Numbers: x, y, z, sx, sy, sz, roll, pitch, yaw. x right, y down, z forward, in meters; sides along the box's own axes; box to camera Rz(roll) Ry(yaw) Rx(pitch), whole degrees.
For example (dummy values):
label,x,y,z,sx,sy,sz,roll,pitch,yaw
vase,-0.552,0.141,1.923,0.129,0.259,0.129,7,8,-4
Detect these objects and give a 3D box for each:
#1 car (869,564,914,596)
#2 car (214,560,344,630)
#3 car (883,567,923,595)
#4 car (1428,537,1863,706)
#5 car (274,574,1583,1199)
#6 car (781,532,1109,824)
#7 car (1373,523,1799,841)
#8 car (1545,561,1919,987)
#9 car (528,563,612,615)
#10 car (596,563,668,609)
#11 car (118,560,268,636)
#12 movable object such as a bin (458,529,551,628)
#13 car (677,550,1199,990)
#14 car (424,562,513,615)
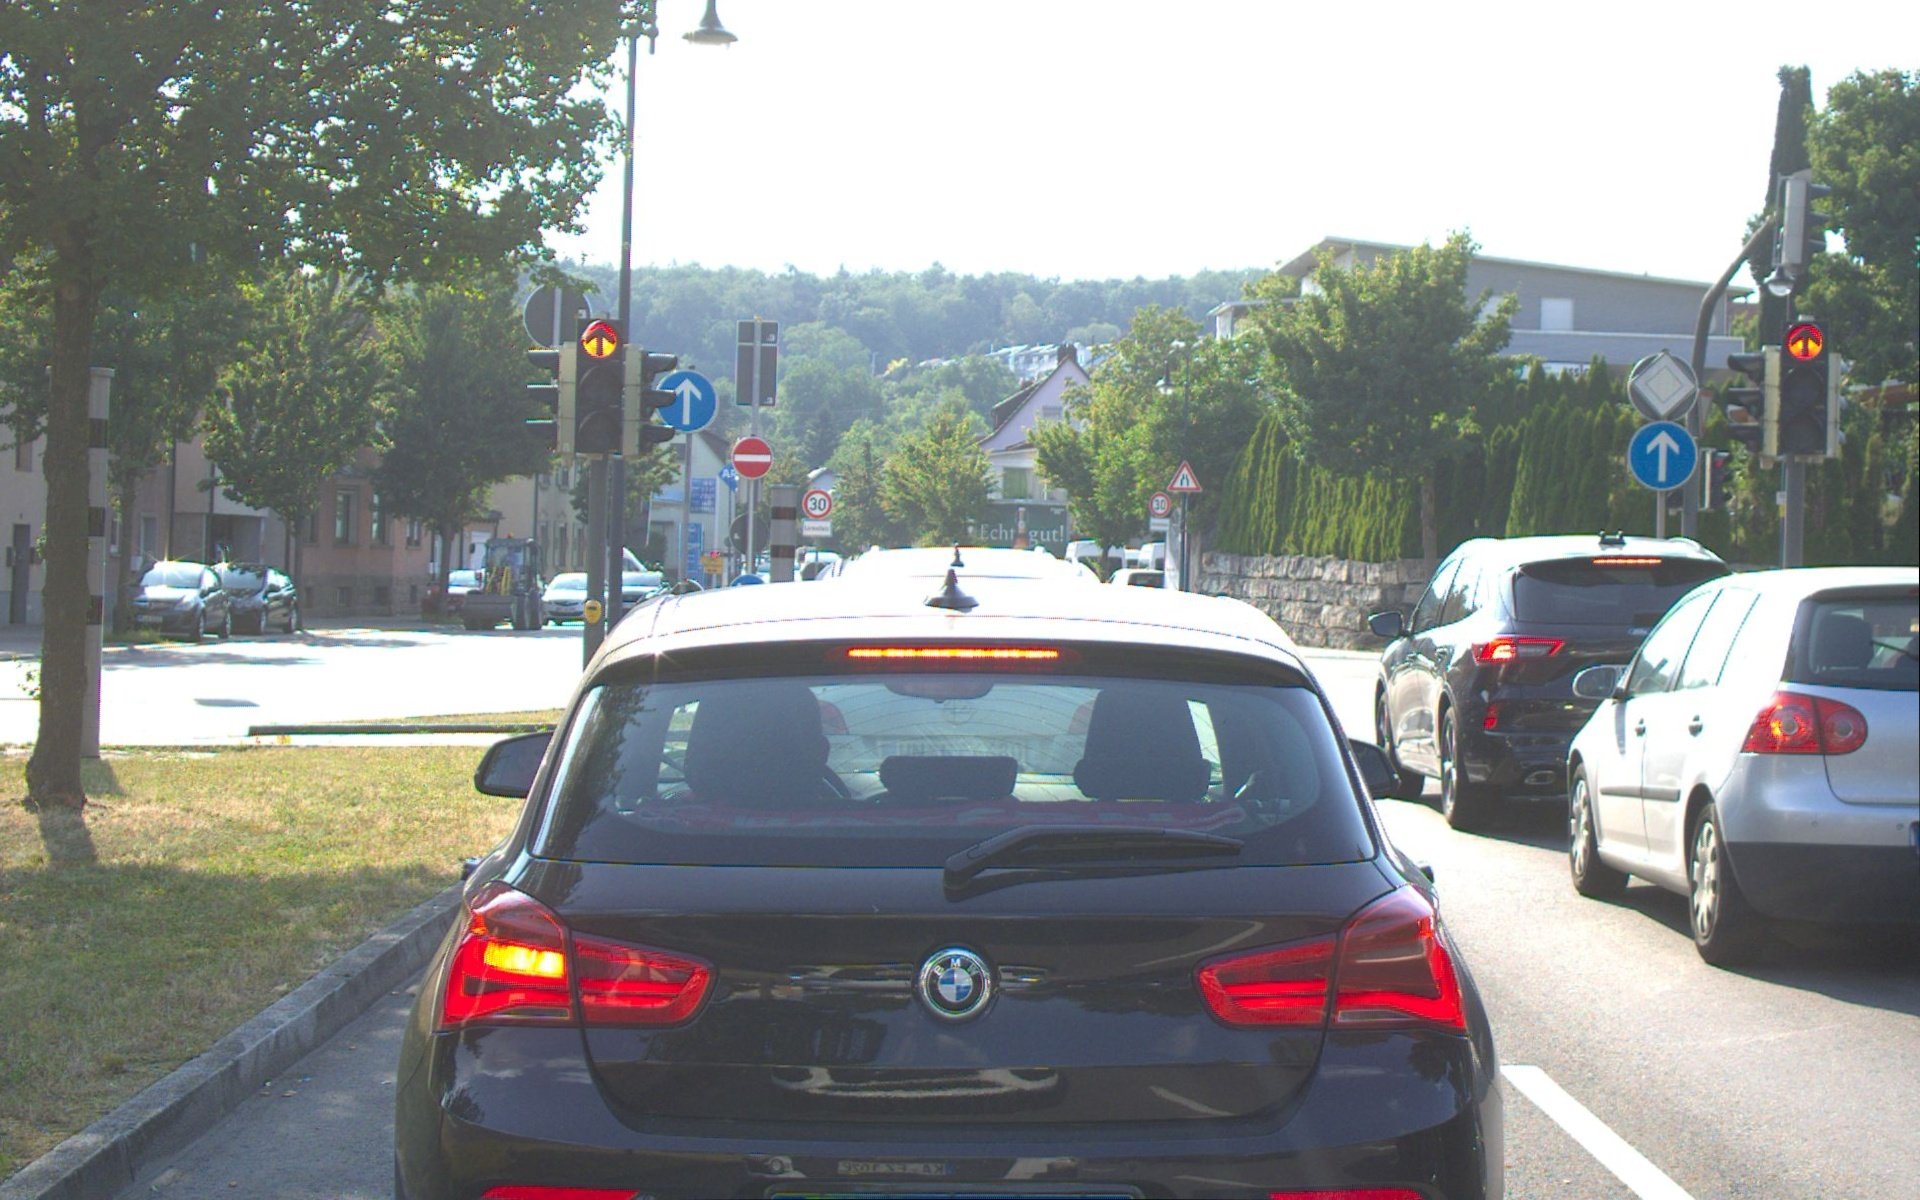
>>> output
label,x,y,z,sx,sy,sz,roll,pitch,yaw
car,-3.118,-0.911,157.394,1.737,1.296,3.799,5,1,2
car,-14.516,-0.121,73.436,1.737,1.296,4.000,5,1,2
car,-2.985,-1.012,180.844,1.737,1.296,3.799,5,1,2
car,7.115,0.197,35.599,4.205,1.674,1.969,0,1,18
car,-0.037,0.677,6.867,1.788,1.393,4.281,-1,1,0
car,-0.080,0.392,21.052,1.788,1.588,4.281,-1,1,0
car,3.529,0.397,20.032,1.761,1.650,3.903,-1,1,0
car,3.556,0.575,13.750,1.761,1.421,3.903,-1,1,0
car,-11.124,-0.334,98.265,1.737,1.296,3.799,5,1,2
car,-10.659,-0.474,112.052,1.737,1.296,3.799,5,1,2
car,-14.938,-0.064,67.161,1.737,1.296,4.000,5,1,3
movable object such as a bin,-11.454,-0.563,86.633,1.736,2.433,4.450,0,1,0
car,-0.073,0.557,14.012,1.788,1.488,4.281,-1,1,0
car,-13.860,-0.347,97.136,1.737,1.296,3.799,5,1,2
